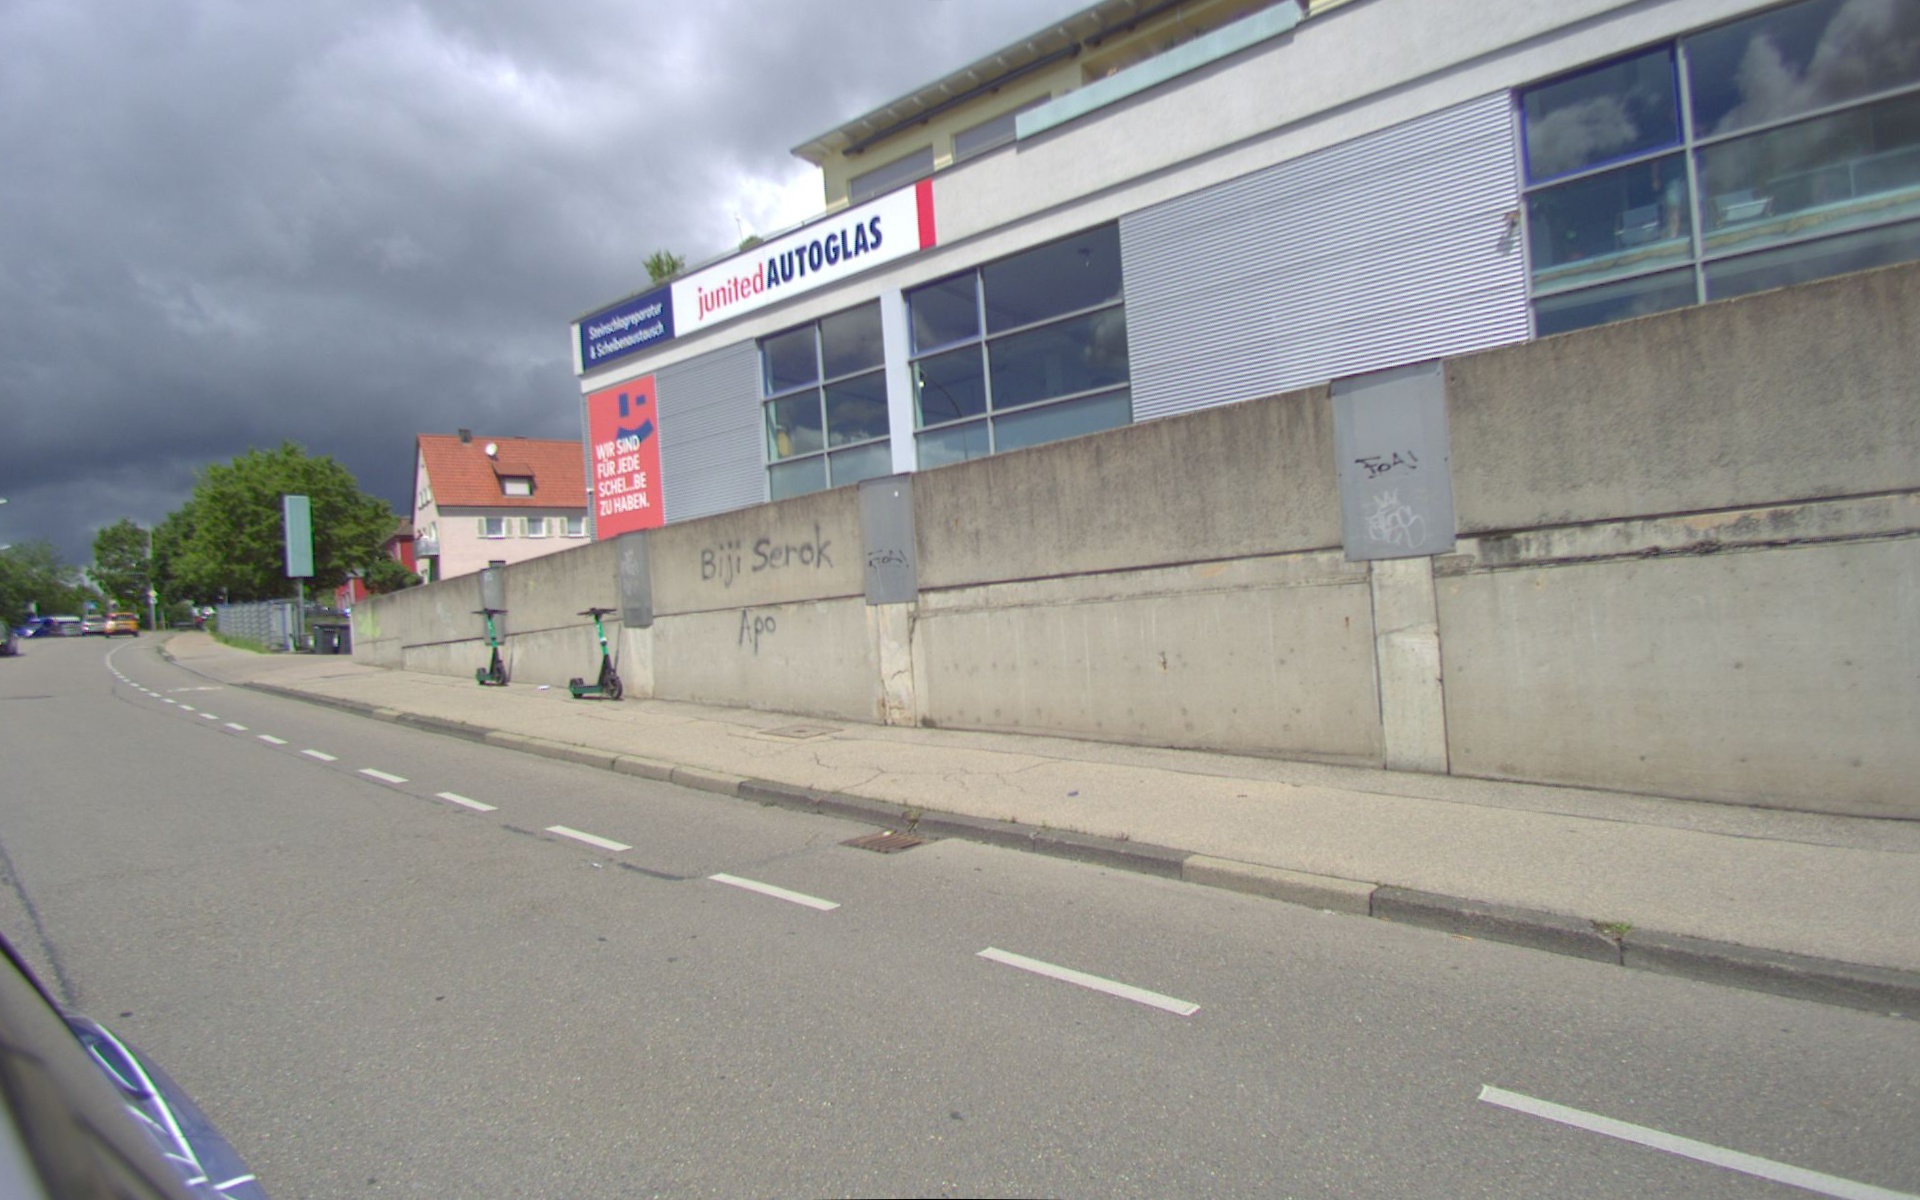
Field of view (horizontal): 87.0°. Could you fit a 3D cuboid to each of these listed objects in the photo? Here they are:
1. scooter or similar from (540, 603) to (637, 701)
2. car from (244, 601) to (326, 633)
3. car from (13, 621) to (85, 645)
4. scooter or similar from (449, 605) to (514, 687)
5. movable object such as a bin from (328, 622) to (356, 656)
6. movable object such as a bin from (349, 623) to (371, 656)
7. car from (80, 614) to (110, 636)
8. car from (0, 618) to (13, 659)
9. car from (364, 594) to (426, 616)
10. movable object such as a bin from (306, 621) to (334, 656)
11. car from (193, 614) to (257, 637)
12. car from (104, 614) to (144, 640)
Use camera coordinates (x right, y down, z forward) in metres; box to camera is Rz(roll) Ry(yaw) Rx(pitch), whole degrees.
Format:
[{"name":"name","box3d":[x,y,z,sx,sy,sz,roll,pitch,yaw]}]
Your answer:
[{"name":"scooter or similar","box3d":[-5.228,0.714,14.222,1.380,1.285,0.515,-1,3,35]},{"name":"car","box3d":[-40.734,0.992,61.124,3.898,1.789,1.525,-2,1,-43]},{"name":"car","box3d":[-88.373,3.167,98.250,1.940,1.984,5.116,-1,1,9]},{"name":"scooter or similar","box3d":[-7.969,0.745,16.842,0.551,1.285,1.306,-2,1,-45]},{"name":"movable object such as a bin","box3d":[-20.127,1.256,32.956,0.654,1.089,0.517,3,-3,-43]},{"name":"movable object such as a bin","box3d":[-19.828,1.312,33.434,0.496,1.068,0.498,3,-3,-43]},{"name":"car","box3d":[-65.253,1.875,76.384,1.622,1.544,4.229,-2,1,-40]},{"name":"car","box3d":[-37.172,1.466,38.504,1.562,1.517,3.960,-2,1,-44]},{"name":"car","box3d":[-43.087,0.368,77.176,3.955,1.517,1.590,-2,1,-36]},{"name":"movable object such as a bin","box3d":[-20.588,1.242,32.572,0.654,1.089,0.517,3,-3,-43]},{"name":"car","box3d":[-54.792,1.882,75.450,3.796,1.517,1.590,-2,1,-36]},{"name":"car","box3d":[-52.392,1.689,63.478,1.579,1.501,3.691,-2,1,-34]}]
